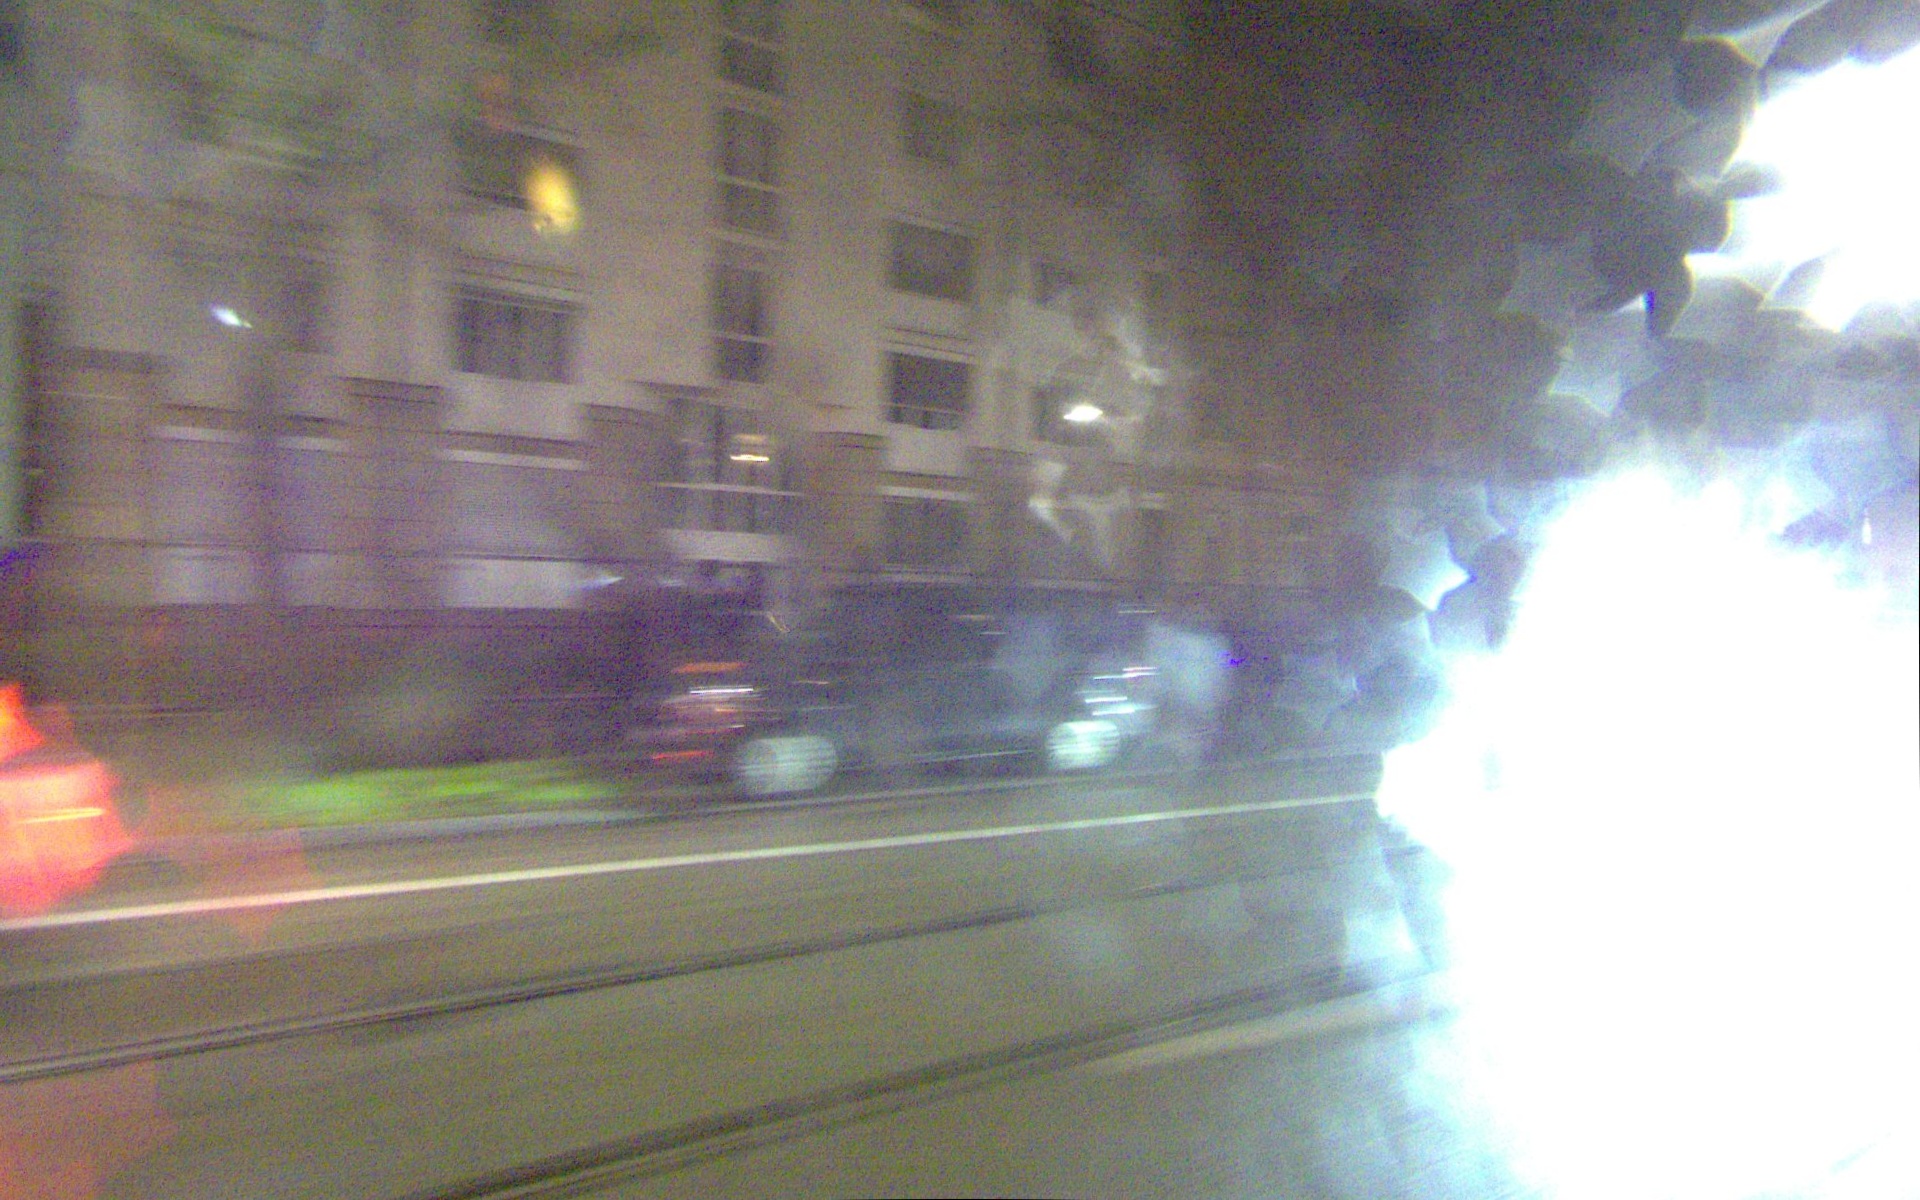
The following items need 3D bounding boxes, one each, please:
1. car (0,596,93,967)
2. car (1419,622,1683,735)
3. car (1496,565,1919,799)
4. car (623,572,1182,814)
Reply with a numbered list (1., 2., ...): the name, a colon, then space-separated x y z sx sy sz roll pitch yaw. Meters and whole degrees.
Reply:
1. car: -5.632 0.702 3.306 3.851 1.484 1.786 1 0 -27
2. car: 9.167 1.140 15.515 4.094 1.425 1.756 2 2 -31
3. car: 7.742 0.722 10.161 4.580 1.904 1.918 1 -2 -29
4. car: -0.460 0.734 10.070 5.246 1.850 1.984 1 3 -30
